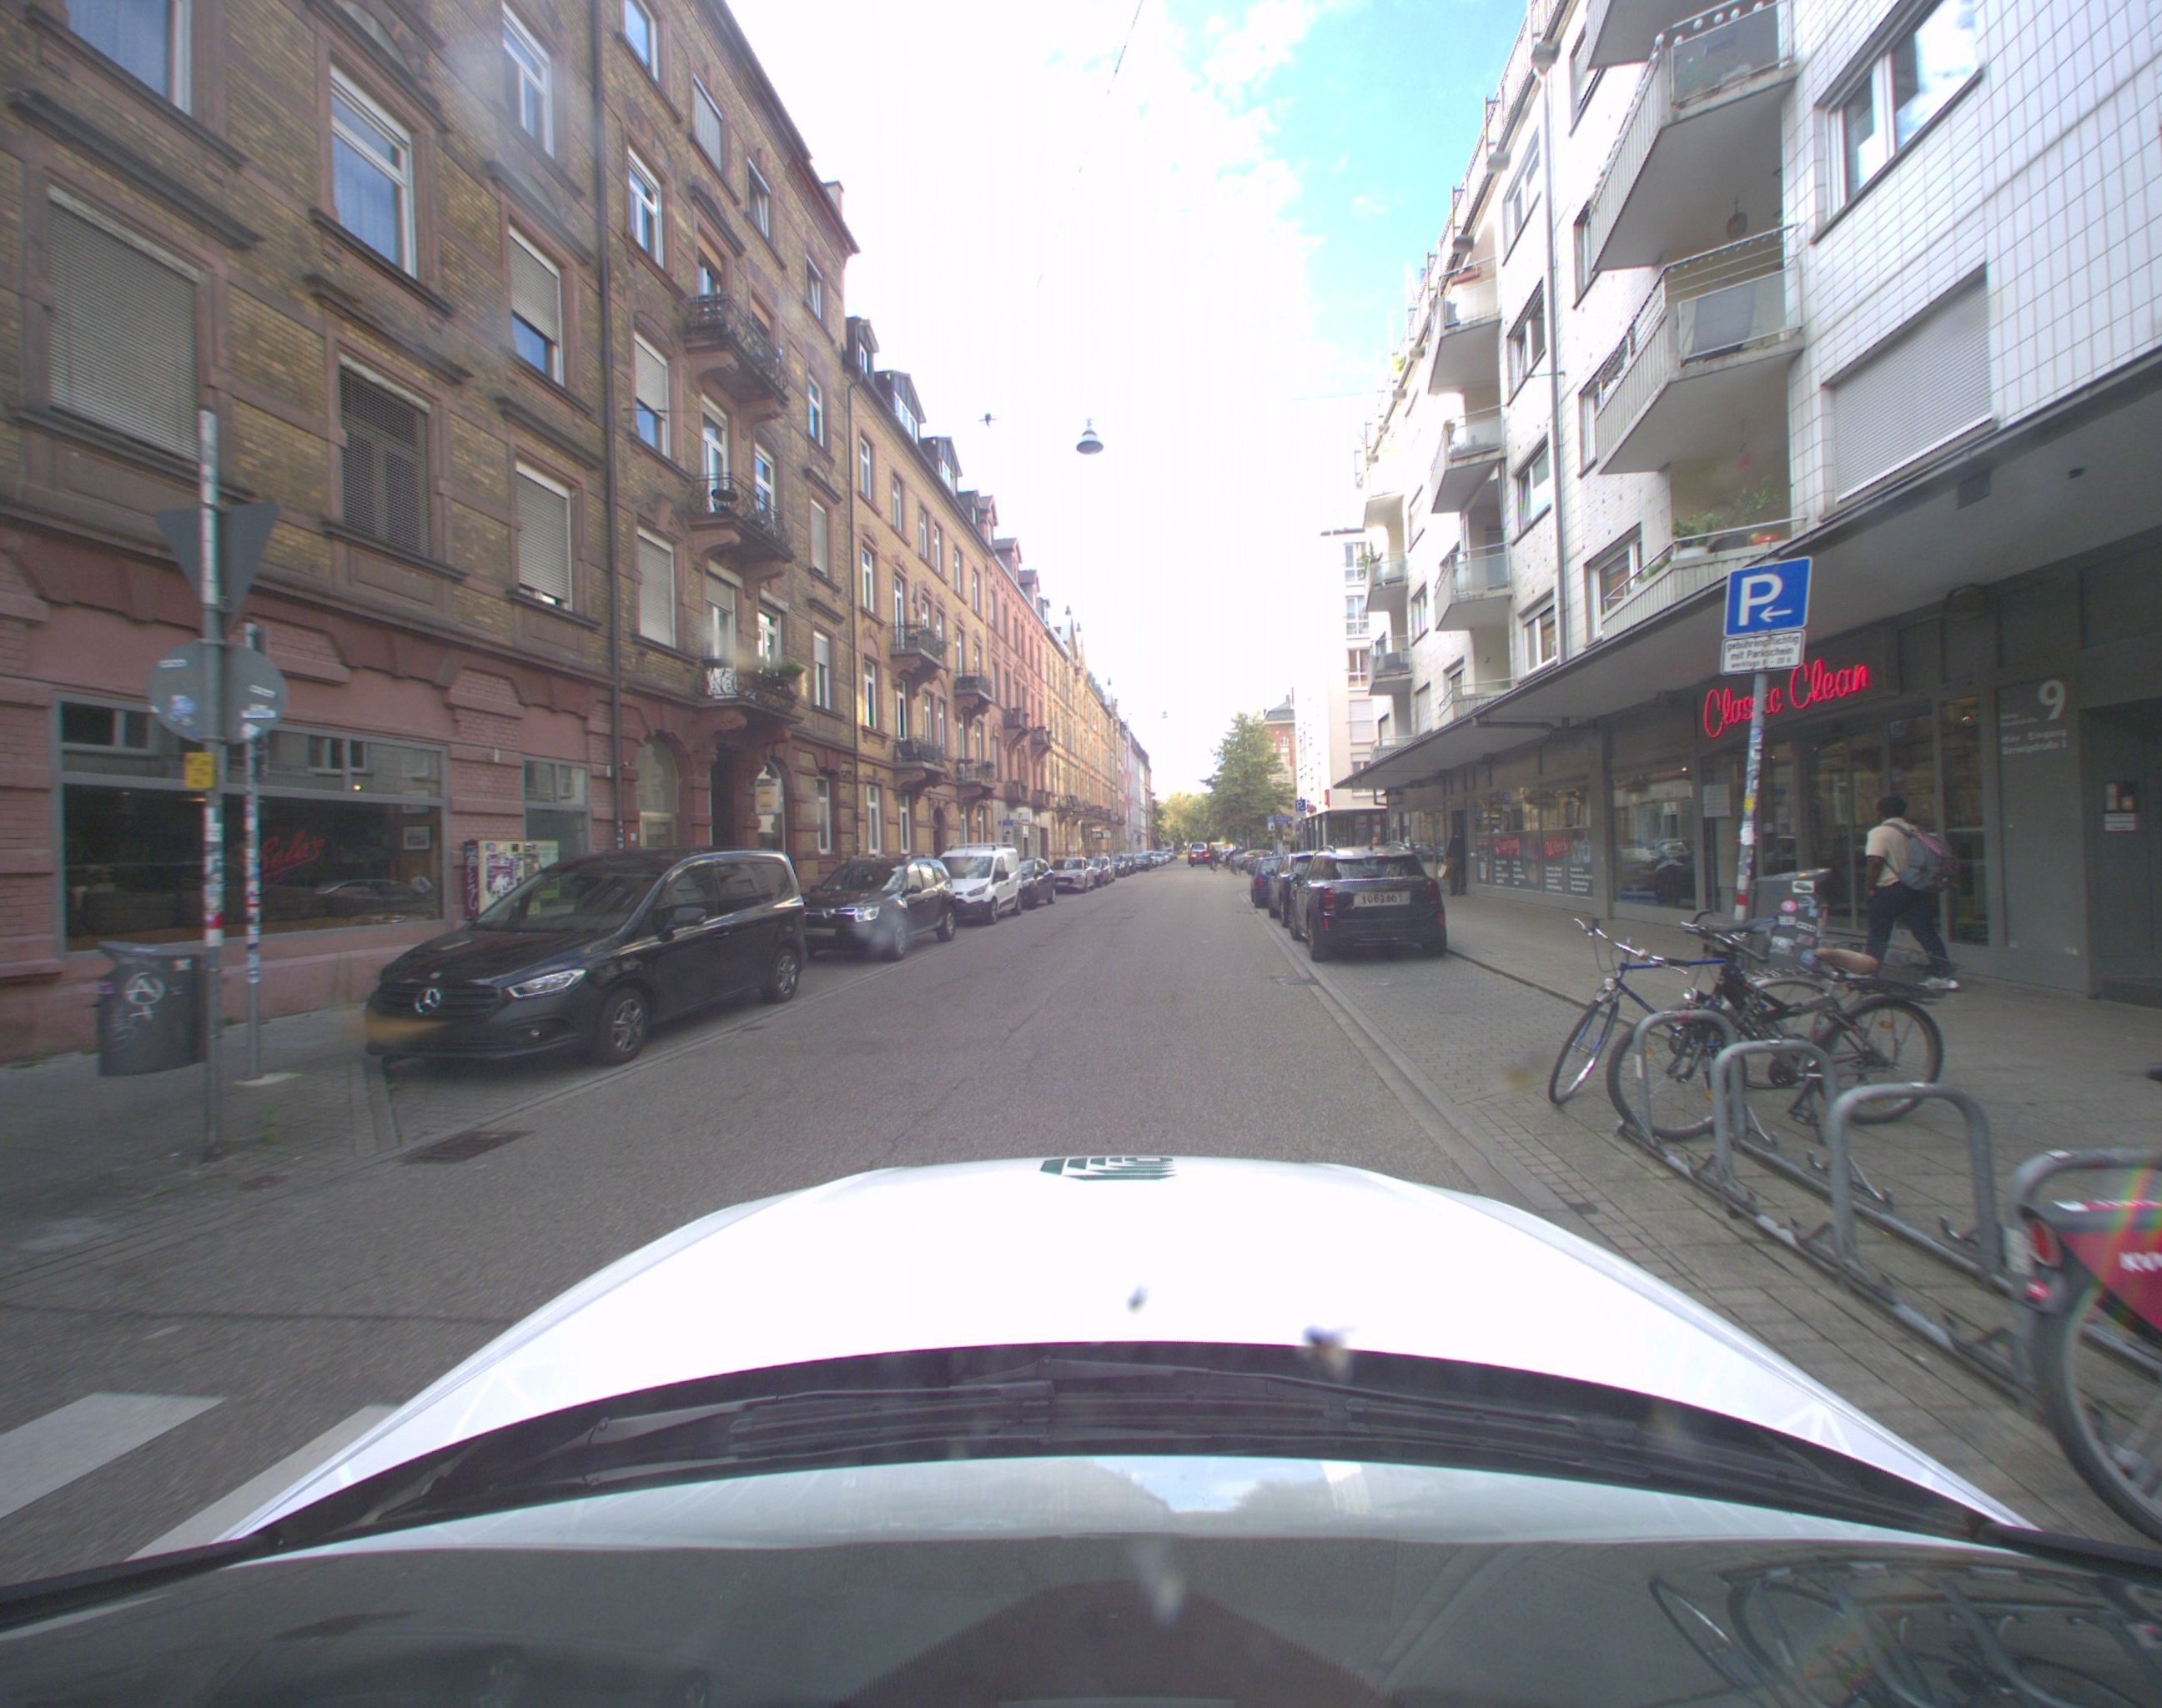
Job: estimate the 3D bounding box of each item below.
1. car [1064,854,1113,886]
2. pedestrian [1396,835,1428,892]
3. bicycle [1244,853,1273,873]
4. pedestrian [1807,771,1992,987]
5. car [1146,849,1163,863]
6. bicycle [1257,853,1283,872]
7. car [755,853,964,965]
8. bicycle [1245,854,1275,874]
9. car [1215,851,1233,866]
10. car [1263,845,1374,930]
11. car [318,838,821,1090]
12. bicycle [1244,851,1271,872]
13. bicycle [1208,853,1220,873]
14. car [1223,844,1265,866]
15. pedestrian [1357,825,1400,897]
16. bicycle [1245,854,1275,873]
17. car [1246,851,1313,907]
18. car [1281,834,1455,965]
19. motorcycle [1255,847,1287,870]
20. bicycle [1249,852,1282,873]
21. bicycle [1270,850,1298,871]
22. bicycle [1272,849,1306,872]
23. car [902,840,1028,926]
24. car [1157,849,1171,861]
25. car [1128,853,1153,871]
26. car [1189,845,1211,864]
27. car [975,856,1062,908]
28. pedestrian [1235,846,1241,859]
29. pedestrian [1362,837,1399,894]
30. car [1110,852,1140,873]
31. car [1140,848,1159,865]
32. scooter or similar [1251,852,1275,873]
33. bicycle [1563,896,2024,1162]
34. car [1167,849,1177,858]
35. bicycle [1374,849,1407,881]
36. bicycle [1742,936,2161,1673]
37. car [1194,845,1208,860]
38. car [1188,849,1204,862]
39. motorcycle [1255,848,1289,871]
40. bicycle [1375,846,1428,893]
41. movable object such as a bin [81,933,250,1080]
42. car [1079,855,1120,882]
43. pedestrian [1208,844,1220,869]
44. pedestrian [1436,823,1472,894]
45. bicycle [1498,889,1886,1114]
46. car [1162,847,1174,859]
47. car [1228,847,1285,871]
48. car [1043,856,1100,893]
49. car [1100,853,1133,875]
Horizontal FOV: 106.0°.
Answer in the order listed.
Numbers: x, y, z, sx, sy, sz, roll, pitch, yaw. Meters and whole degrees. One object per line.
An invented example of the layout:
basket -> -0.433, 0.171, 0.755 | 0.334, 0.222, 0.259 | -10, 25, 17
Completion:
car -> 0.413, 0.743, 39.588 | 1.731, 1.483, 3.994 | 0, 0, 9
pedestrian -> 9.615, 0.275, 23.679 | 0.640, 1.588, 0.783 | -4, -1, 10
bicycle -> 11.435, 0.592, 52.455 | 1.782, 1.159, 0.502 | -4, 0, 11
pedestrian -> 7.143, 0.209, 7.159 | 0.710, 1.747, 0.818 | -4, 0, 6
car -> 8.421, 0.265, 92.716 | 1.680, 1.550, 3.876 | 0, 0, 8
bicycle -> 13.196, 0.597, 56.898 | 1.654, 1.159, 0.558 | -4, 0, 10
car -> -3.600, 0.821, 14.168 | 1.982, 1.638, 4.155 | -1, 0, 8
bicycle -> 11.152, 0.607, 50.825 | 1.754, 1.099, 0.413 | -4, 0, 11
car -> 16.501, 0.487, 93.949 | 1.919, 1.638, 4.010 | 0, 0, 9
car -> 5.014, 0.656, 17.698 | 1.679, 1.577, 3.910 | -2, 0, 7
car -> -4.429, 0.771, 8.073 | 1.750, 1.773, 4.416 | 1, 0, 8
bicycle -> 10.469, 0.430, 48.277 | 1.489, 1.146, 0.412 | -4, 0, 3
bicycle -> 8.725, 0.592, 53.358 | 0.713, 1.274, 1.889 | 0, 0, 10
car -> 16.317, 0.123, 81.562 | 3.960, 1.683, 1.744 | -4, 7, 12
pedestrian -> 7.514, 0.175, 20.610 | 0.609, 1.726, 1.127 | -4, 0, 3
bicycle -> 11.328, 0.600, 51.561 | 1.754, 1.118, 0.413 | -4, 0, 11
car -> 5.683, 0.665, 23.709 | 1.586, 1.439, 4.041 | -2, 0, 10
car -> 4.223, 0.584, 12.605 | 1.782, 1.605, 3.934 | -4, 0, 9
motorcycle -> 13.672, 0.335, 58.532 | 2.135, 1.530, 0.688 | -4, 0, 13
bicycle -> 10.618, 0.486, 46.923 | 1.758, 1.057, 0.412 | -4, 0, 3
bicycle -> 12.002, 0.376, 48.165 | 1.486, 1.146, 0.412 | -4, 0, 8
bicycle -> 11.811, 0.351, 46.339 | 1.754, 1.162, 0.652 | -4, 0, 11
car -> -2.707, 0.632, 20.211 | 1.909, 1.871, 4.447 | -1, 0, 8
car -> 11.025, 0.121, 107.757 | 1.680, 1.550, 3.876 | 0, 0, 8
car -> 5.022, 0.655, 68.627 | 1.680, 1.369, 3.877 | 3, 0, 9
car -> 11.614, 0.029, 79.364 | 1.953, 1.740, 4.051 | -1, 0, 9
car -> -1.844, 0.799, 25.330 | 1.731, 1.483, 3.995 | 0, 0, 10
pedestrian -> 26.200, -0.244, 135.968 | 0.989, 2.230, 0.901 | 0, 0, 9
pedestrian -> 8.512, 0.325, 23.152 | 0.819, 1.588, 0.783 | -2, -1, 10
car -> 3.201, 0.589, 58.689 | 1.680, 1.437, 3.877 | 0, 0, 9
car -> 6.837, 0.252, 80.982 | 1.680, 1.550, 3.876 | 1, 1, 8
scooter or similar -> 10.348, 0.491, 46.225 | 1.194, 1.147, 0.381 | -4, 1, 40
bicycle -> 3.476, 0.821, 4.055 | 1.783, 1.070, 0.569 | -4, 0, -2
car -> 15.559, -0.102, 139.037 | 1.680, 1.550, 3.876 | 0, 0, 8
bicycle -> 12.233, 0.430, 32.263 | 0.532, 1.191, 1.934 | -2, 0, 0
bicycle -> 2.808, 0.798, 1.781 | 1.873, 1.125, 0.909 | -4, 0, 6
car -> 16.282, -0.250, 110.736 | 1.772, 2.020, 3.896 | 0, 0, 8
car -> 13.677, 0.122, 96.863 | 1.787, 1.472, 3.896 | 0, 0, 8
motorcycle -> 13.046, 0.363, 55.557 | 2.135, 1.434, 0.768 | -4, 0, 13
bicycle -> 9.650, 0.433, 24.617 | 0.913, 1.291, 2.506 | -3, 0, 9
movable object such as a bin -> -5.033, 0.821, 4.496 | 0.381, 0.714, 0.476 | 0, 0, 4
car -> 1.051, 0.751, 43.803 | 1.680, 1.386, 3.877 | 0, 0, 9
pedestrian -> 8.736, 0.143, 53.432 | 0.714, 1.650, 0.933 | 0, 0, 9
pedestrian -> 9.978, 0.110, 21.761 | 0.700, 1.860, 0.649 | -2, 0, 37
bicycle -> 3.482, 0.812, 4.724 | 1.783, 1.070, 0.586 | -4, 0, -2
car -> 13.294, -0.106, 124.215 | 1.680, 1.821, 3.876 | 0, 0, 8
car -> 13.088, 0.377, 60.895 | 3.750, 1.546, 1.729 | -3, -1, -2
car -> -0.345, 0.818, 34.707 | 1.731, 1.483, 3.994 | 0, 0, 9
car -> 2.328, 0.645, 52.552 | 1.680, 1.386, 3.877 | 0, 0, 9
